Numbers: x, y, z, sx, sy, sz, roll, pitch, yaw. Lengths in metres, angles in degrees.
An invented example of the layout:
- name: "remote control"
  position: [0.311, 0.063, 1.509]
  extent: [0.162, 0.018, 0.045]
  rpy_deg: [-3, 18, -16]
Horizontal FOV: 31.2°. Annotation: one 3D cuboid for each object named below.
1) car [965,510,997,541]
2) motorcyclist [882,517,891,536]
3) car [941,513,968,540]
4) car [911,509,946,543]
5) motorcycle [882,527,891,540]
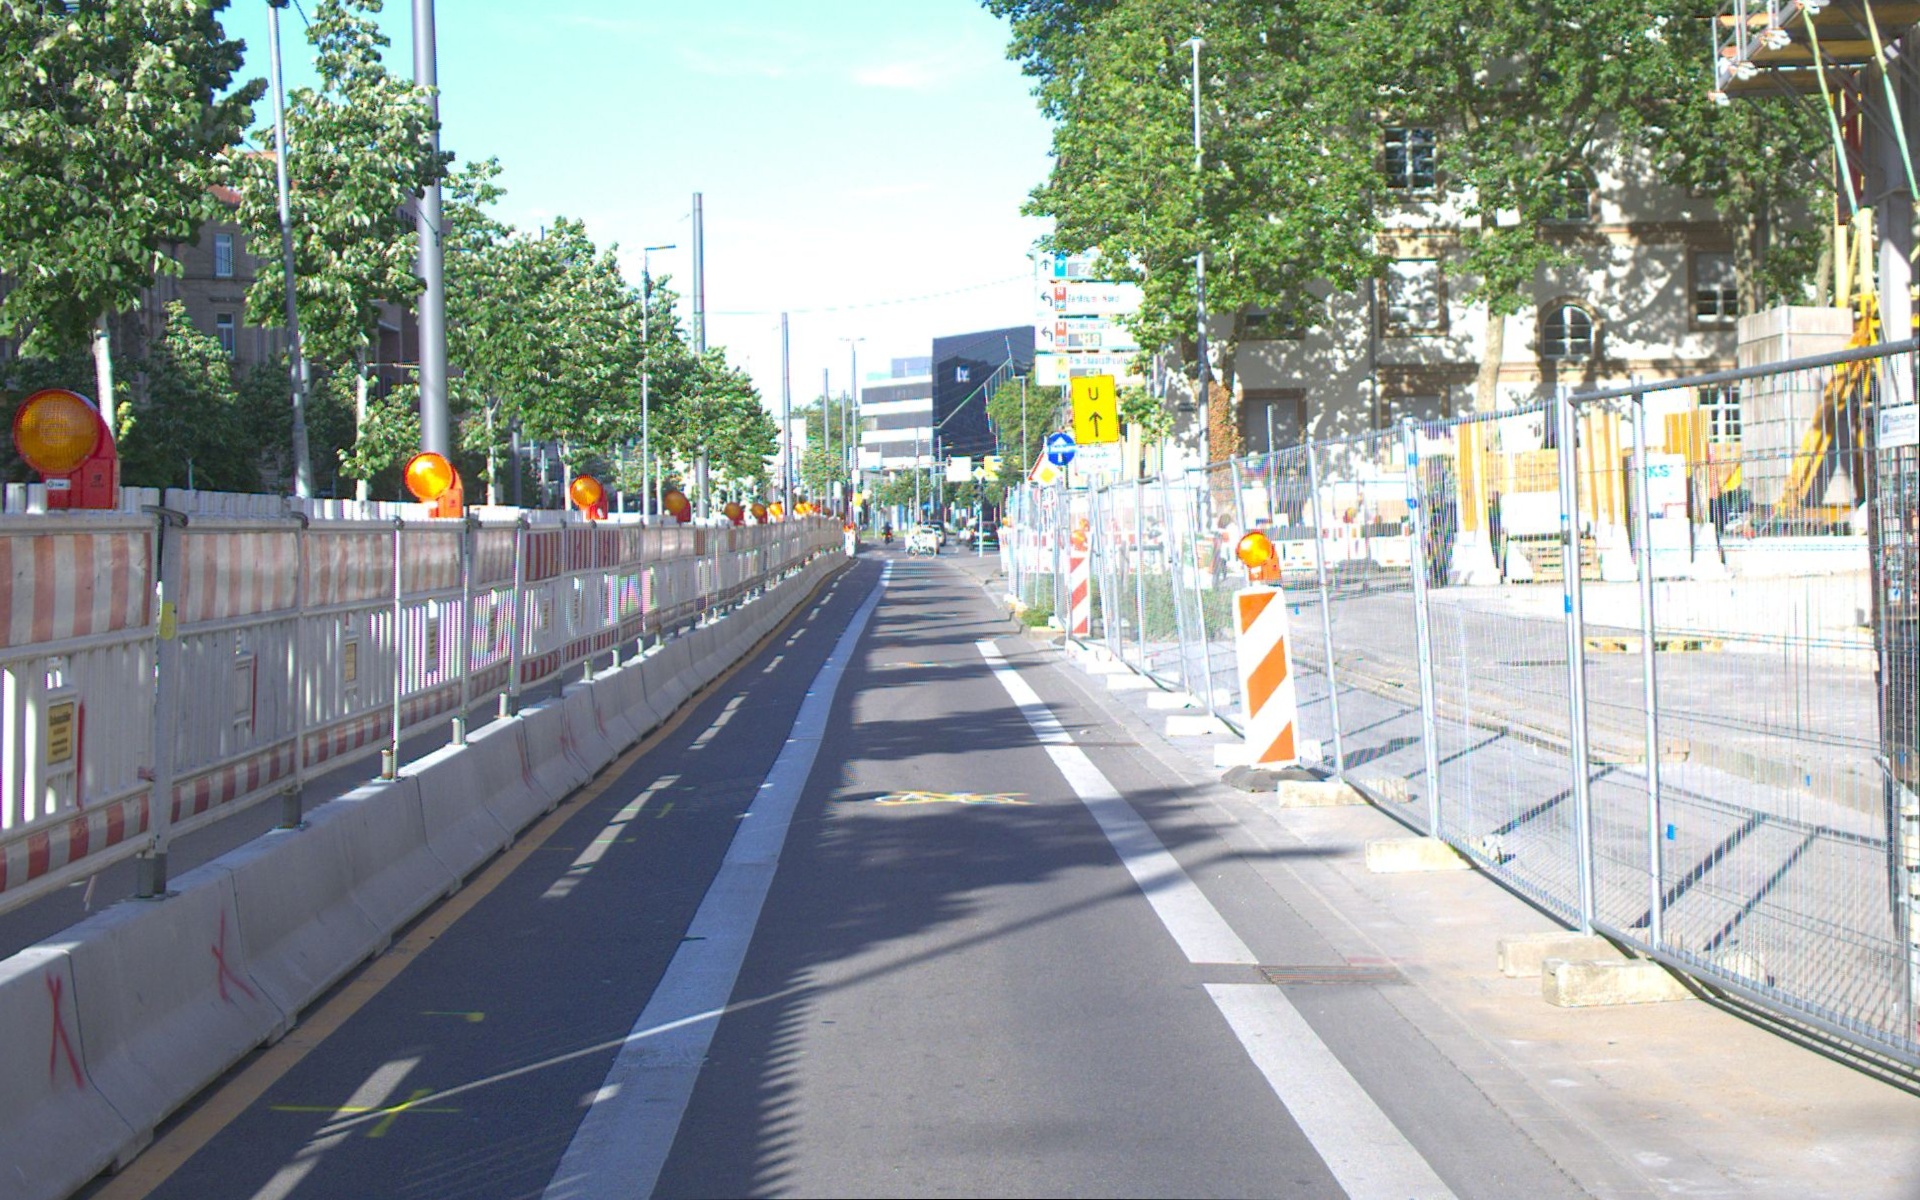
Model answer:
- name: "car"
  position: [1.263, -4.564, 209.125]
  extent: [1.883, 1.836, 3.668]
  rpy_deg: [-1, 2, -1]
- name: "motorcyclist"
  position: [-5.089, -5.090, 237.407]
  extent: [0.631, 1.258, 0.606]
  rpy_deg: [-1, 2, -1]
- name: "car"
  position: [-0.388, -5.236, 243.598]
  extent: [1.883, 1.836, 3.668]
  rpy_deg: [-1, 2, -1]
- name: "car"
  position: [-1.737, -4.064, 188.947]
  extent: [1.883, 1.836, 3.668]
  rpy_deg: [-1, 2, -1]
- name: "motorcycle"
  position: [-5.079, -4.594, 237.401]
  extent: [0.631, 0.893, 1.621]
  rpy_deg: [-1, 2, -1]
